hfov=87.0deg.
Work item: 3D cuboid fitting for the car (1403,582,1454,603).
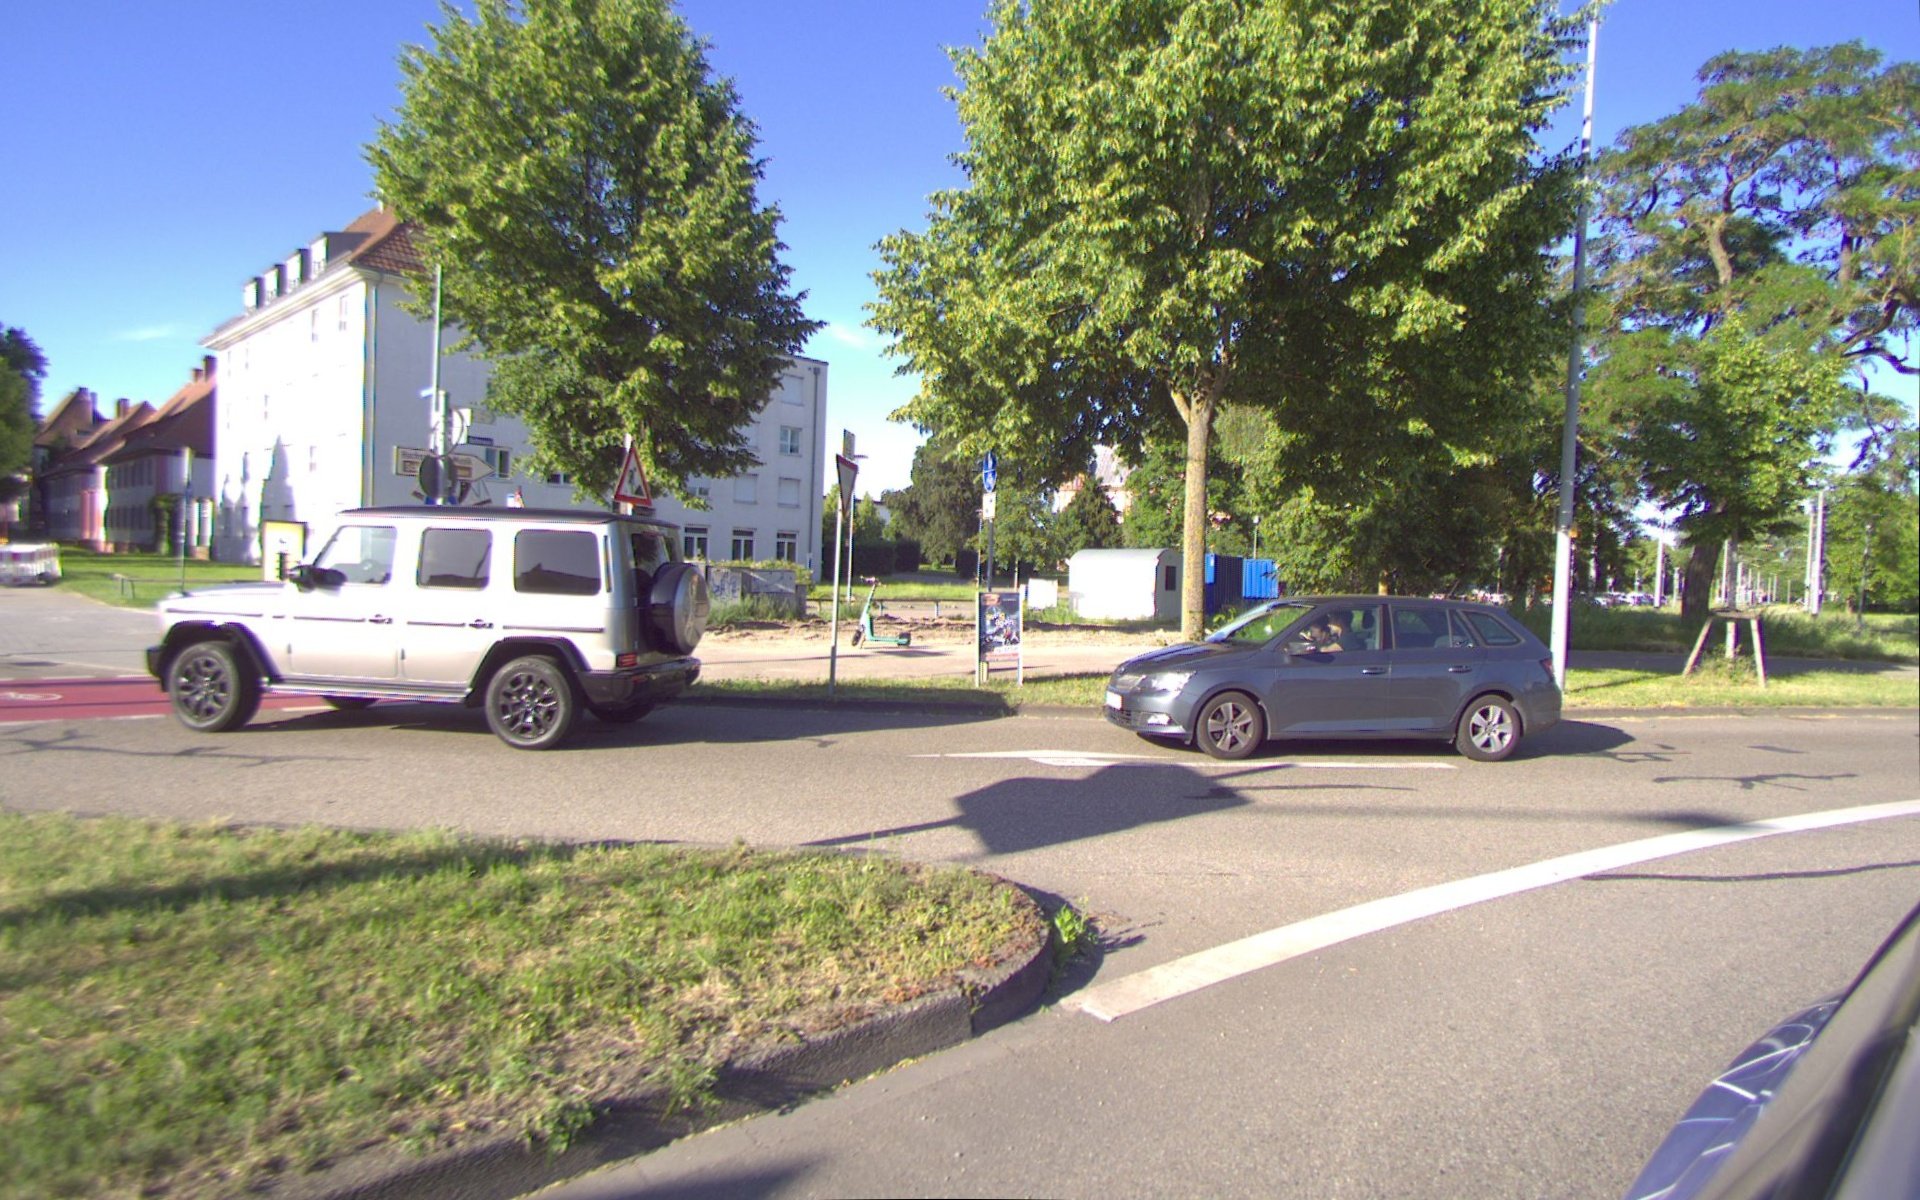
[{"bbox_3d":[44.733,-0.719,96.642,3.984,1.920,1.970,1,0,42],"label":"car"}]

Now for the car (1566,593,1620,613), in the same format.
[{"bbox_3d":[58.386,0.251,93.338,3.984,1.778,1.886,1,0,42],"label":"car"}]

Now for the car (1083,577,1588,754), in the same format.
[{"bbox_3d":[3.385,0.564,9.540,4.067,1.454,1.722,1,1,-7],"label":"car"}]

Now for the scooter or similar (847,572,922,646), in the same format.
[{"bbox_3d":[-1.329,0.157,17.831,1.238,1.263,0.445,0,0,-26],"label":"scooter or similar"}]

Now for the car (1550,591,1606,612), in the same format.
[{"bbox_3d":[54.872,0.161,89.841,3.984,1.778,1.886,1,0,42],"label":"car"}]

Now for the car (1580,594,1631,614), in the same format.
[{"bbox_3d":[62.777,0.366,98.456,3.984,1.778,1.886,1,0,42],"label":"car"}]

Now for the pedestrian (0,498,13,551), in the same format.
[{"bbox_3d":[-36.666,-2.893,38.809,0.463,2.038,0.454,1,1,-39],"label":"pedestrian"}]

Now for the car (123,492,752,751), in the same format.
[{"bbox_3d":[-4.451,0.123,9.063,4.670,1.921,2.000,2,1,6],"label":"car"}]
